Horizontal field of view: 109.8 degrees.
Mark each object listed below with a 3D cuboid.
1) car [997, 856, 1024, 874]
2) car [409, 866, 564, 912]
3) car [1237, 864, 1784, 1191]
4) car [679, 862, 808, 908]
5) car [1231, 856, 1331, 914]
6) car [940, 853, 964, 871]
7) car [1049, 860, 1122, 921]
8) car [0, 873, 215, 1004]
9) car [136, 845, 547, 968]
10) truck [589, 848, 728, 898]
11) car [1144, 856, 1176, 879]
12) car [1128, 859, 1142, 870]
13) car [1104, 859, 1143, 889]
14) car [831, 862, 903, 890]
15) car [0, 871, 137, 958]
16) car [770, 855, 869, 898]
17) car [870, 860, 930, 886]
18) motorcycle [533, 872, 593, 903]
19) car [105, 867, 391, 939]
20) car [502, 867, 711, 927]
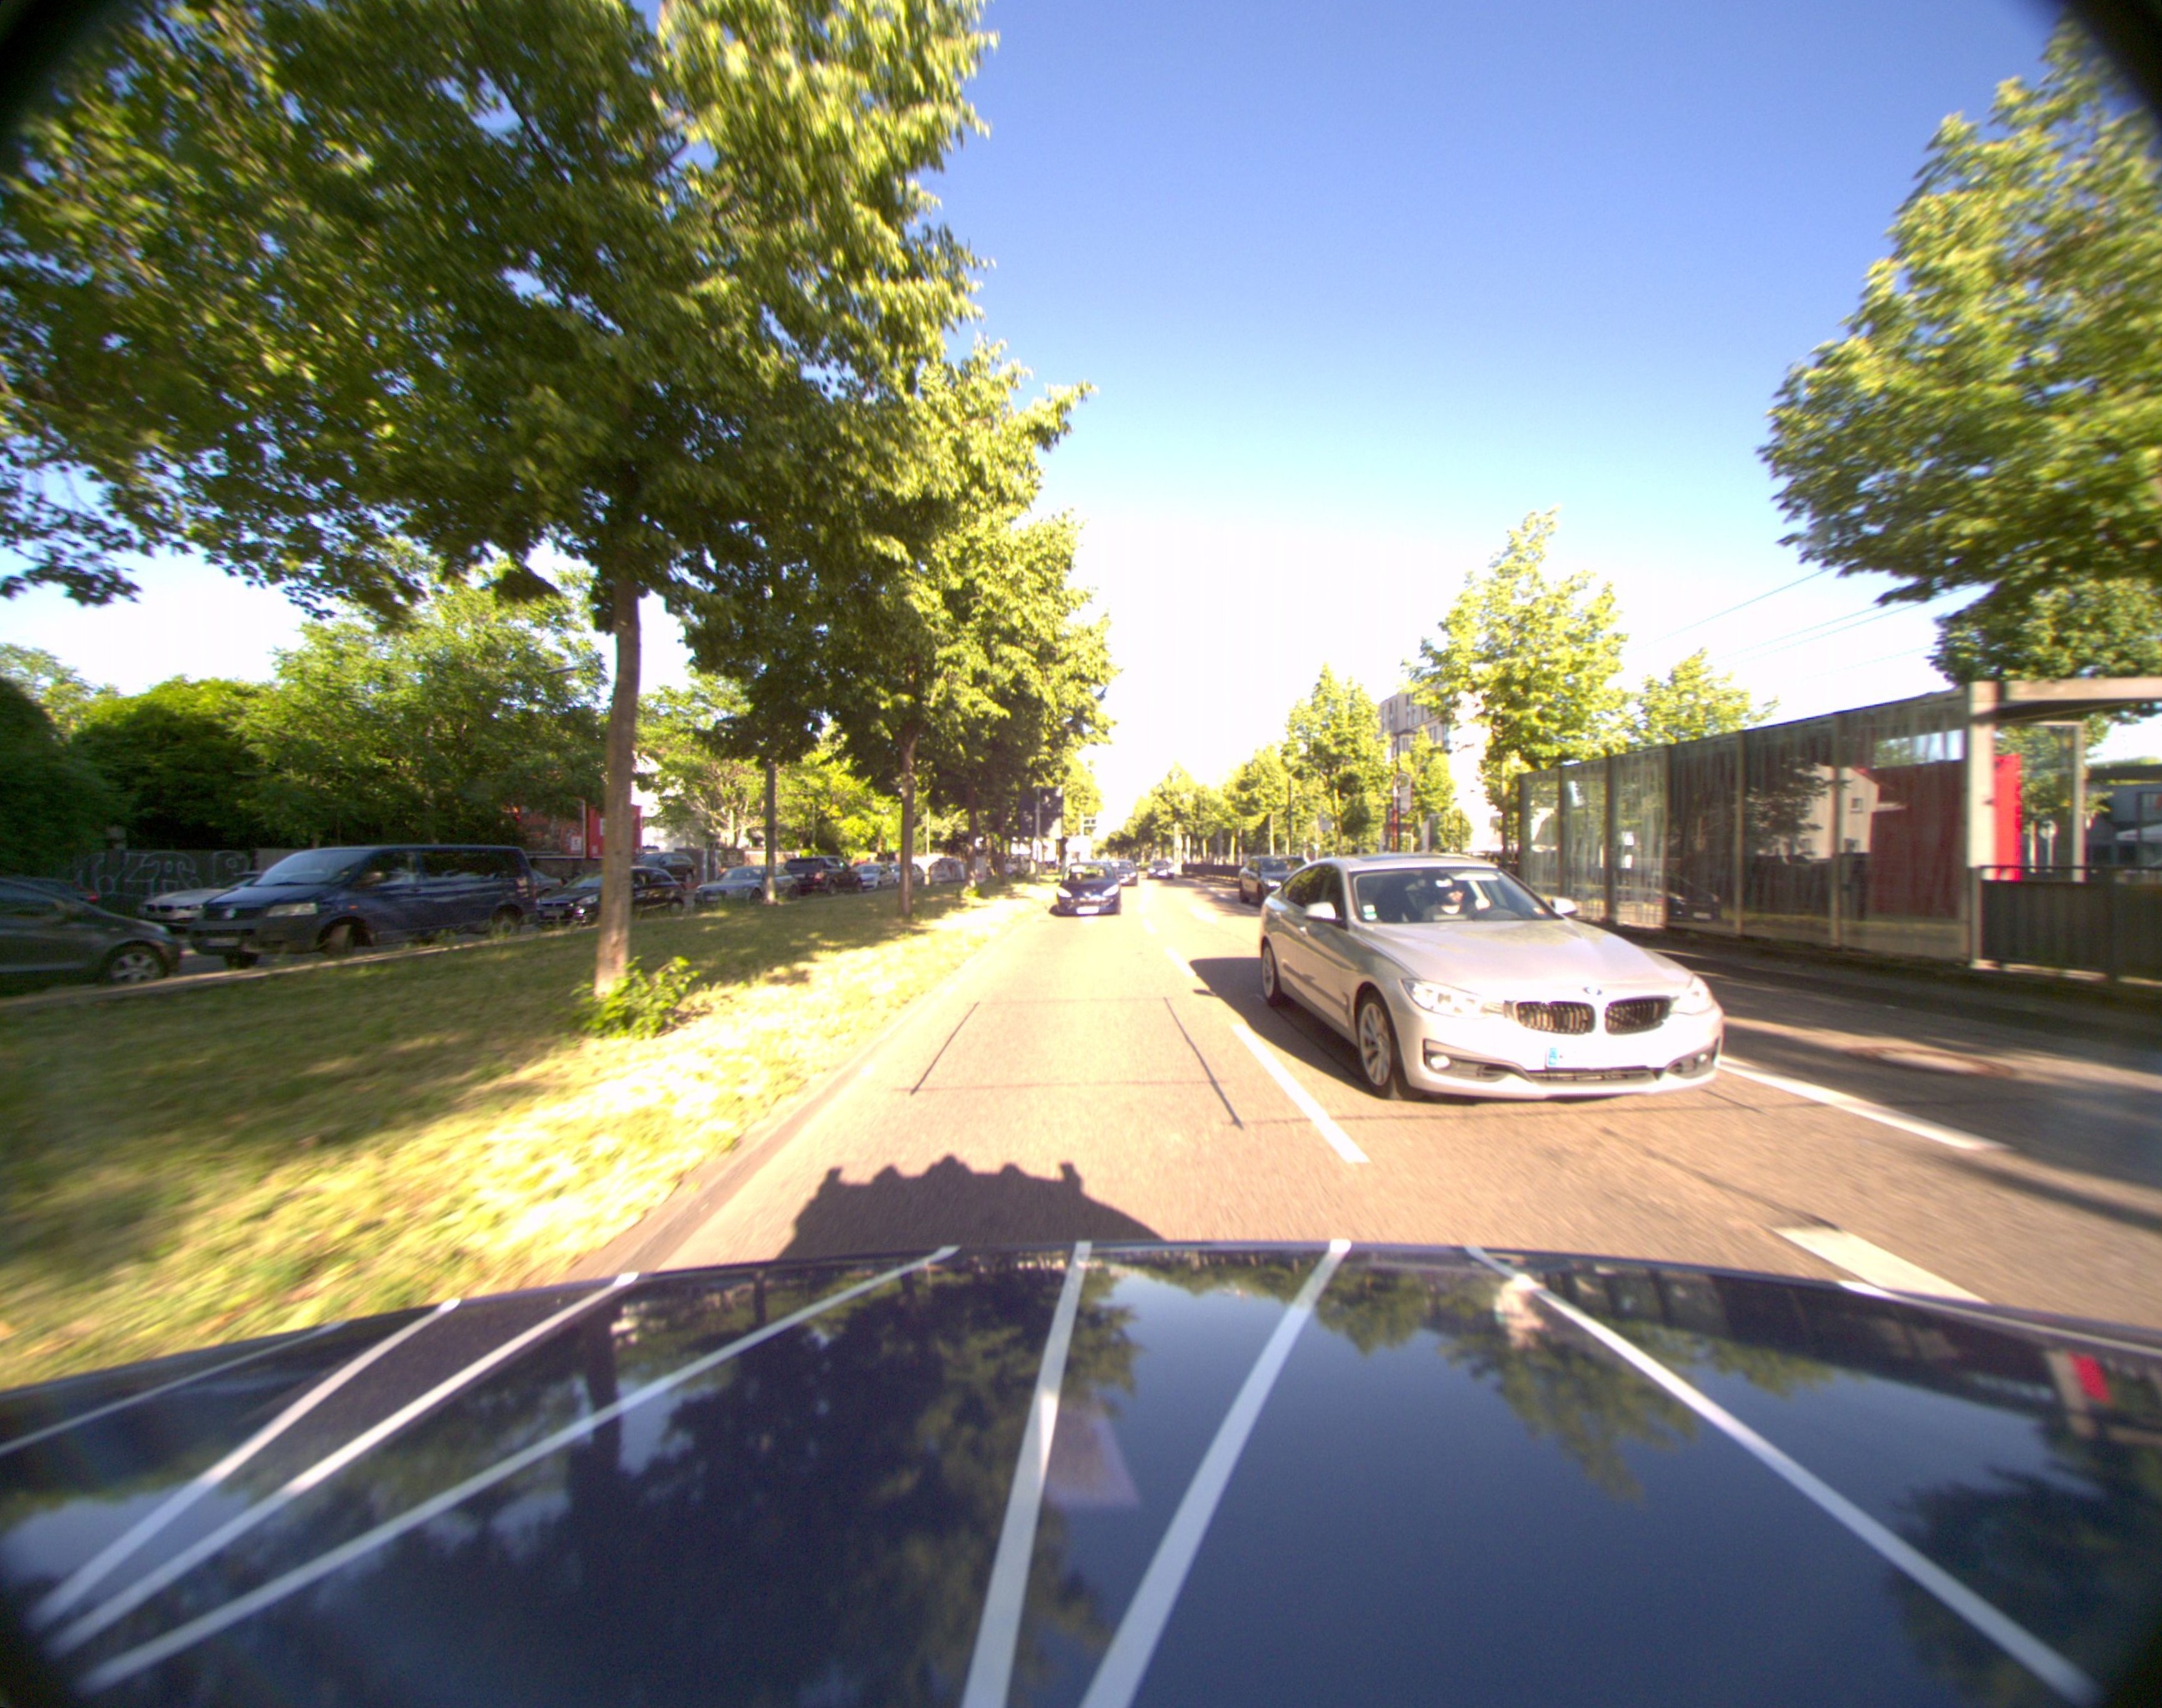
[{"bbox_3d":[-6.513,1.035,70.707,1.998,1.575,4.000,-1,0,2],"label":"car"},{"bbox_3d":[-20.119,1.136,25.978,1.795,1.394,4.173,-1,0,4],"label":"car"},{"bbox_3d":[2.628,0.901,6.225,1.803,1.518,4.911,-2,0,2],"label":"car"},{"bbox_3d":[-11.367,1.001,26.024,1.998,1.355,4.867,-1,0,3],"label":"car"},{"bbox_3d":[5.881,0.854,22.874,1.803,1.518,4.343,-2,0,0],"label":"car"},{"bbox_3d":[-14.970,0.901,88.263,1.998,2.002,4.000,-1,0,2],"label":"car"},{"bbox_3d":[0.246,0.968,22.226,1.802,1.518,4.606,-2,0,4],"label":"car"},{"bbox_3d":[-12.635,0.949,8.228,1.942,1.372,3.914,-1,0,3],"label":"car"},{"bbox_3d":[-12.310,0.762,13.322,2.037,1.731,5.023,-1,0,5],"label":"car"},{"bbox_3d":[-19.358,0.813,35.338,2.454,2.063,6.582,-1,0,4],"label":"truck"},{"bbox_3d":[5.613,0.950,54.436,1.803,1.518,4.343,-2,0,0],"label":"car"},{"bbox_3d":[6.935,1.337,97.864,1.675,1.418,4.006,-2,0,2],"label":"car"},{"bbox_3d":[2.301,1.074,42.118,1.803,1.518,4.605,-2,0,-1],"label":"car"},{"bbox_3d":[-10.297,1.030,36.848,1.998,1.203,4.115,-1,0,6],"label":"car"},{"bbox_3d":[-21.205,1.158,13.911,1.998,1.520,4.654,2,0,0],"label":"car"},{"bbox_3d":[-10.651,0.868,31.386,1.997,1.587,4.657,-1,0,7],"label":"car"},{"bbox_3d":[-10.009,1.040,42.391,1.998,1.308,4.547,-1,0,3],"label":"car"},{"bbox_3d":[-19.740,1.268,28.999,1.744,1.142,0.734,-1,0,-20],"label":"motorcycle"},{"bbox_3d":[-20.891,1.149,19.434,1.998,1.520,4.656,-1,0,4],"label":"car"},{"bbox_3d":[-11.634,0.991,19.110,1.998,1.242,4.656,-1,0,6],"label":"car"}]
